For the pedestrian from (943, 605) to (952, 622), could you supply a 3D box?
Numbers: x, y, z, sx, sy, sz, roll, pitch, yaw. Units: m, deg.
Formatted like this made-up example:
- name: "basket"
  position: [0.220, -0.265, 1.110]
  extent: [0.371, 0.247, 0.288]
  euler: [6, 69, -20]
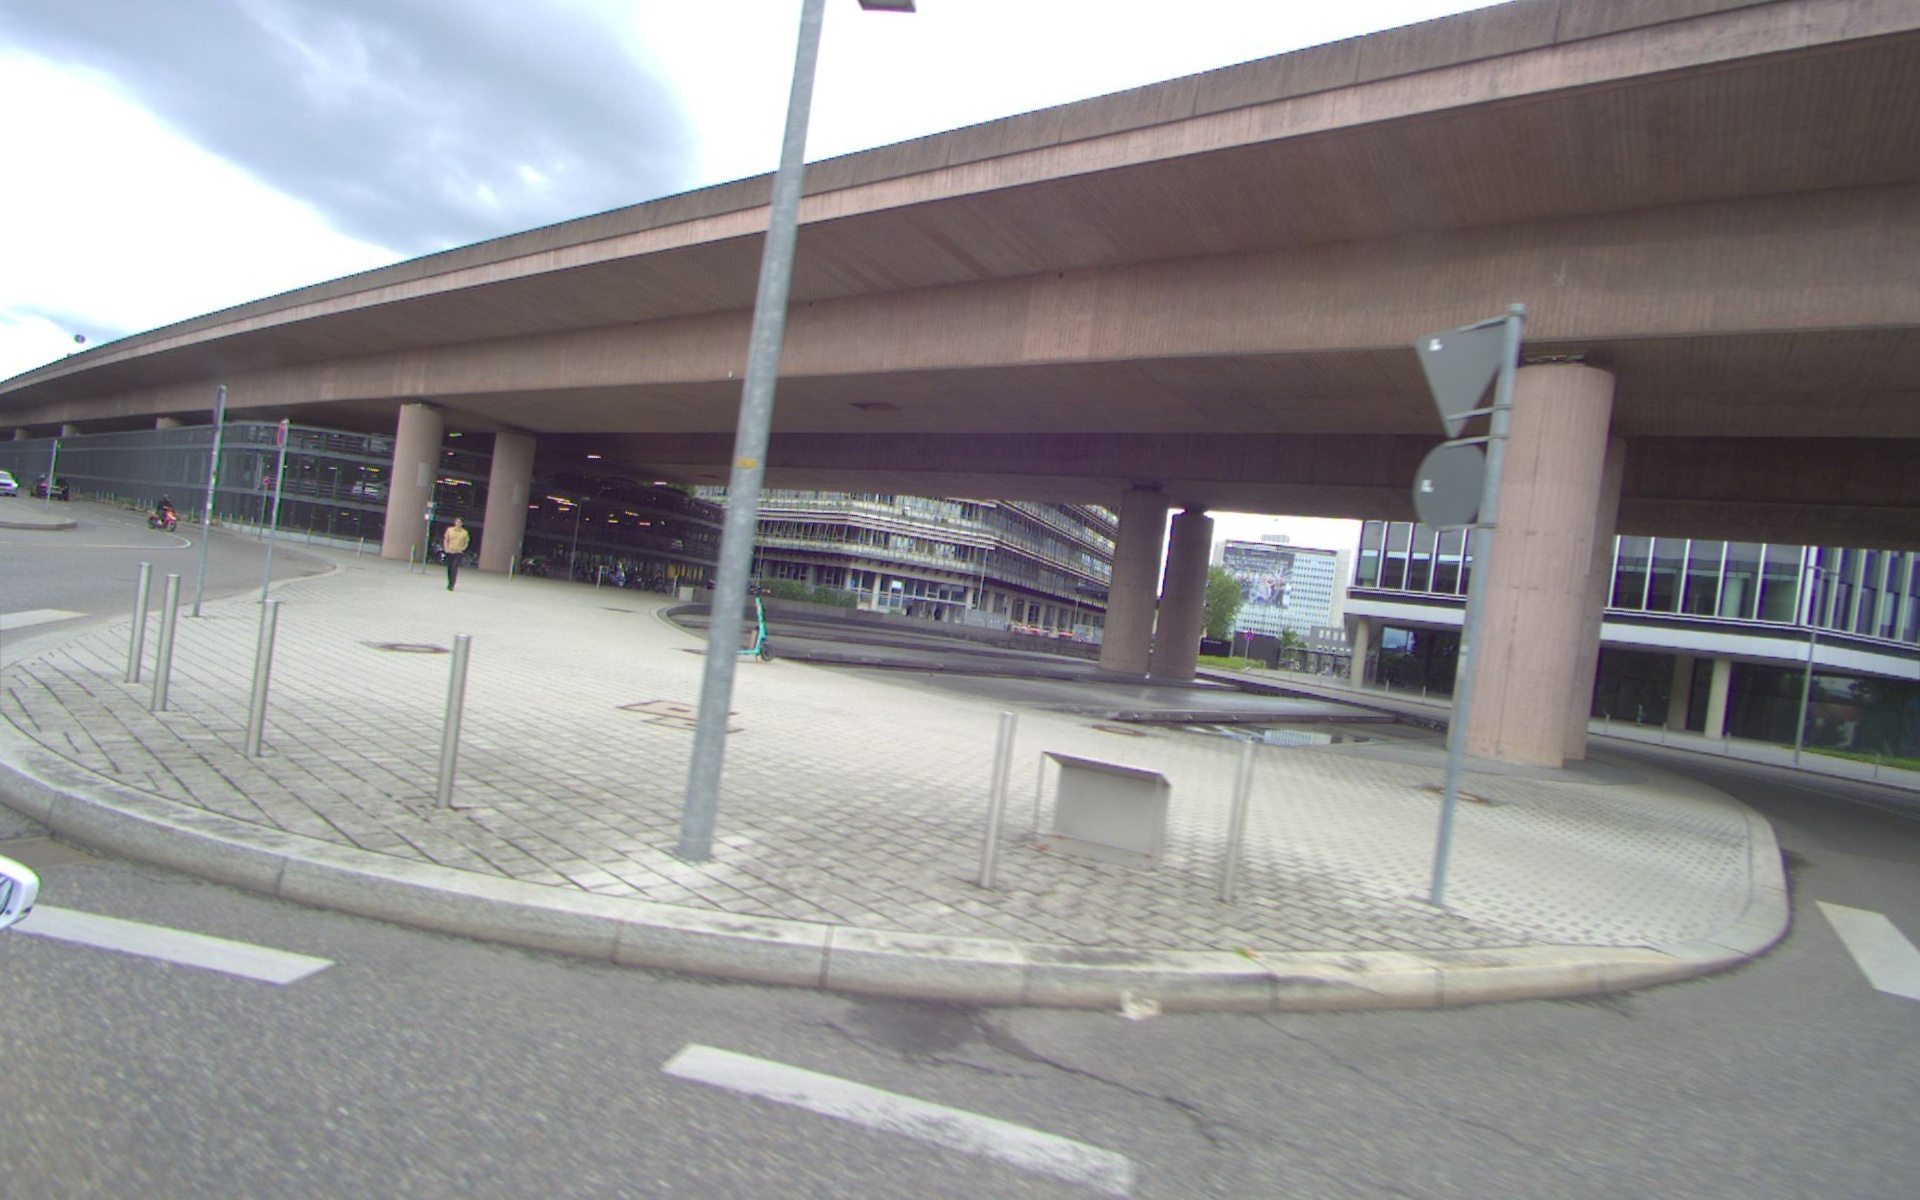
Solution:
- name: "pedestrian"
  position: [-1.126, 1.201, 90.714]
  extent: [0.487, 1.500, 0.545]
  euler: [8, 1, 10]

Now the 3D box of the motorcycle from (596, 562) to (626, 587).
- name: "motorcycle"
  position: [-20.962, -1.522, 60.395]
  extent: [2.049, 1.235, 0.671]
  euler: [9, 2, 42]

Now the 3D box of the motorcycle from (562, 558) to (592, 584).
- name: "motorcycle"
  position: [-22.429, -1.700, 58.871]
  extent: [2.049, 1.235, 0.671]
  euler: [9, 2, 42]

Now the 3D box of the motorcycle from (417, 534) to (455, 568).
- name: "motorcycle"
  position: [-26.399, -2.480, 50.703]
  extent: [1.731, 1.473, 0.643]
  euler: [9, 2, 26]

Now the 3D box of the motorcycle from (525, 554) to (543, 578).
- name: "motorcycle"
  position: [-22.587, -1.796, 53.311]
  extent: [0.514, 1.184, 1.148]
  euler: [8, -2, -12]

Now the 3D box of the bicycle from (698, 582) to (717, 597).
- name: "bicycle"
  position: [-17.403, -0.731, 69.348]
  extent: [0.466, 0.907, 1.505]
  euler: [9, 1, 16]

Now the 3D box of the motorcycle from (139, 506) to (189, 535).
- name: "motorcycle"
  position: [-36.275, -3.614, 45.827]
  extent: [1.920, 1.035, 0.748]
  euler: [9, 1, 17]

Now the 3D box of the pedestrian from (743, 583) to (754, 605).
- name: "pedestrian"
  position: [-20.268, -0.557, 96.489]
  extent: [0.525, 2.037, 0.567]
  euler: [8, 0, -41]

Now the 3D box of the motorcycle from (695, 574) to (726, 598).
- name: "motorcycle"
  position: [-16.592, -0.921, 66.891]
  extent: [2.330, 1.291, 0.671]
  euler: [9, 2, 42]

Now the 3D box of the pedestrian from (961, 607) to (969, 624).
- name: "pedestrian"
  position: [0.442, 1.378, 90.241]
  extent: [0.487, 1.500, 0.545]
  euler: [8, 1, 10]

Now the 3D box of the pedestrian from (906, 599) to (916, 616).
- name: "pedestrian"
  position: [-4.583, 0.717, 93.213]
  extent: [0.490, 1.500, 0.542]
  euler: [10, 2, 42]

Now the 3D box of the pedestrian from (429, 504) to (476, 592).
- name: "pedestrian"
  position: [-12.561, -1.289, 24.938]
  extent: [0.775, 2.039, 1.033]
  euler: [8, 2, -25]

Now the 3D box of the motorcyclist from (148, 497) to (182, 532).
- name: "motorcyclist"
  position: [-36.189, -3.883, 45.802]
  extent: [0.853, 1.437, 0.764]
  euler: [9, 1, 17]

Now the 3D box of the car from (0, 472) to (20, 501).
- name: "car"
  position: [-66.810, -7.988, 69.653]
  extent: [4.340, 1.704, 1.863]
  euler: [9, 1, 40]

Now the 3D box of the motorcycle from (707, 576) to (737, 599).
- name: "motorcycle"
  position: [-16.170, -0.854, 68.288]
  extent: [2.330, 1.235, 0.671]
  euler: [9, 2, 42]

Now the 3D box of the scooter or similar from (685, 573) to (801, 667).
- name: "scooter or similar"
  position: [-3.527, 0.337, 16.421]
  extent: [1.634, 1.312, 0.513]
  euler: [8, 1, -34]

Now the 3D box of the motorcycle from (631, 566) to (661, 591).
- name: "motorcycle"
  position: [-19.393, -1.334, 62.148]
  extent: [2.049, 1.302, 0.671]
  euler: [9, 2, 42]

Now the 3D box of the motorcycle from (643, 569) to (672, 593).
- name: "motorcycle"
  position: [-18.886, -1.173, 62.783]
  extent: [2.049, 1.235, 0.671]
  euler: [9, 2, 42]

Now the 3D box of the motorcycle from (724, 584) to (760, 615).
- name: "motorcycle"
  position: [-10.123, -0.012, 46.811]
  extent: [0.538, 1.280, 1.941]
  euler: [9, 1, 20]

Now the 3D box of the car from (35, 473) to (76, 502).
- name: "car"
  position: [-68.911, -8.544, 76.593]
  extent: [3.653, 1.732, 1.837]
  euler: [9, 1, 42]

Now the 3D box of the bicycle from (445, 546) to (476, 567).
- name: "bicycle"
  position: [-28.081, -2.448, 56.547]
  extent: [1.458, 0.988, 0.449]
  euler: [8, 1, -23]

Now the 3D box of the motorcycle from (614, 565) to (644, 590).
- name: "motorcycle"
  position: [-20.115, -1.365, 61.103]
  extent: [2.049, 1.235, 0.671]
  euler: [9, 2, 42]

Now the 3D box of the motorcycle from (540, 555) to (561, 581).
- name: "motorcycle"
  position: [-23.251, -1.828, 57.140]
  extent: [0.823, 1.235, 2.064]
  euler: [8, 1, -27]

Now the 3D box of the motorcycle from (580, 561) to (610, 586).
- name: "motorcycle"
  position: [-21.634, -1.586, 59.587]
  extent: [2.049, 1.235, 0.671]
  euler: [9, 2, 42]

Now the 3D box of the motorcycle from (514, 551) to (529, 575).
- name: "motorcycle"
  position: [-24.867, -2.125, 57.075]
  extent: [0.516, 1.235, 1.140]
  euler: [7, 1, -31]

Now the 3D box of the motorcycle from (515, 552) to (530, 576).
- name: "motorcycle"
  position: [-24.245, -2.008, 55.726]
  extent: [0.514, 1.235, 1.145]
  euler: [8, 1, -18]
